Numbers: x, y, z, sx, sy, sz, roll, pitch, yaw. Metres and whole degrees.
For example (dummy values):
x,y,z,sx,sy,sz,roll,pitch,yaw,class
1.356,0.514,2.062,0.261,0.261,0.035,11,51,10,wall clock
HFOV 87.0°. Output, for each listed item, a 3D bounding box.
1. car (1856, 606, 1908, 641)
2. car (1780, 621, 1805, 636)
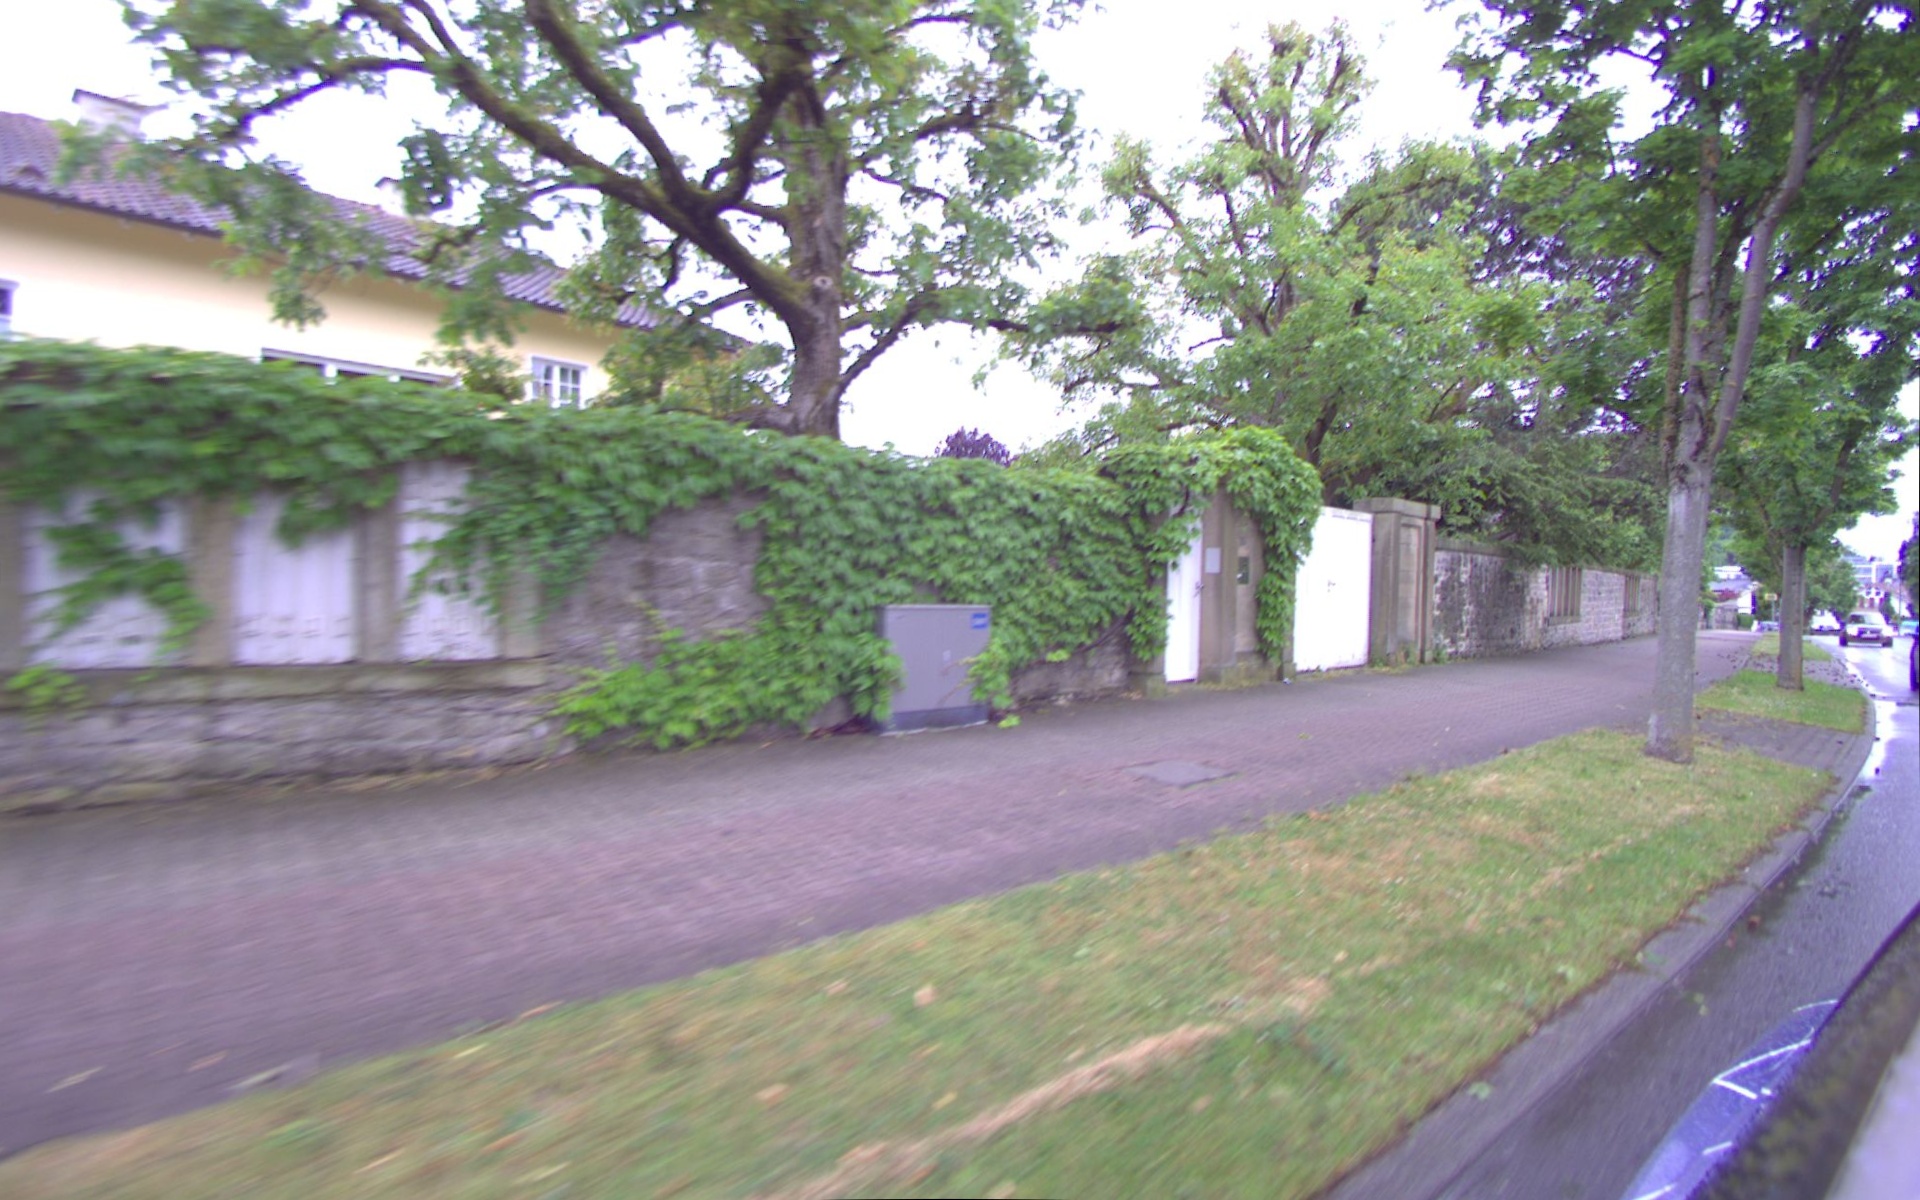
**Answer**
x,y,z,sx,sy,sz,roll,pitch,yaw,class
41.017,1.056,45.085,1.651,1.471,3.939,-1,-2,42,car
84.718,2.876,102.953,1.642,1.394,3.768,4,1,43,car
